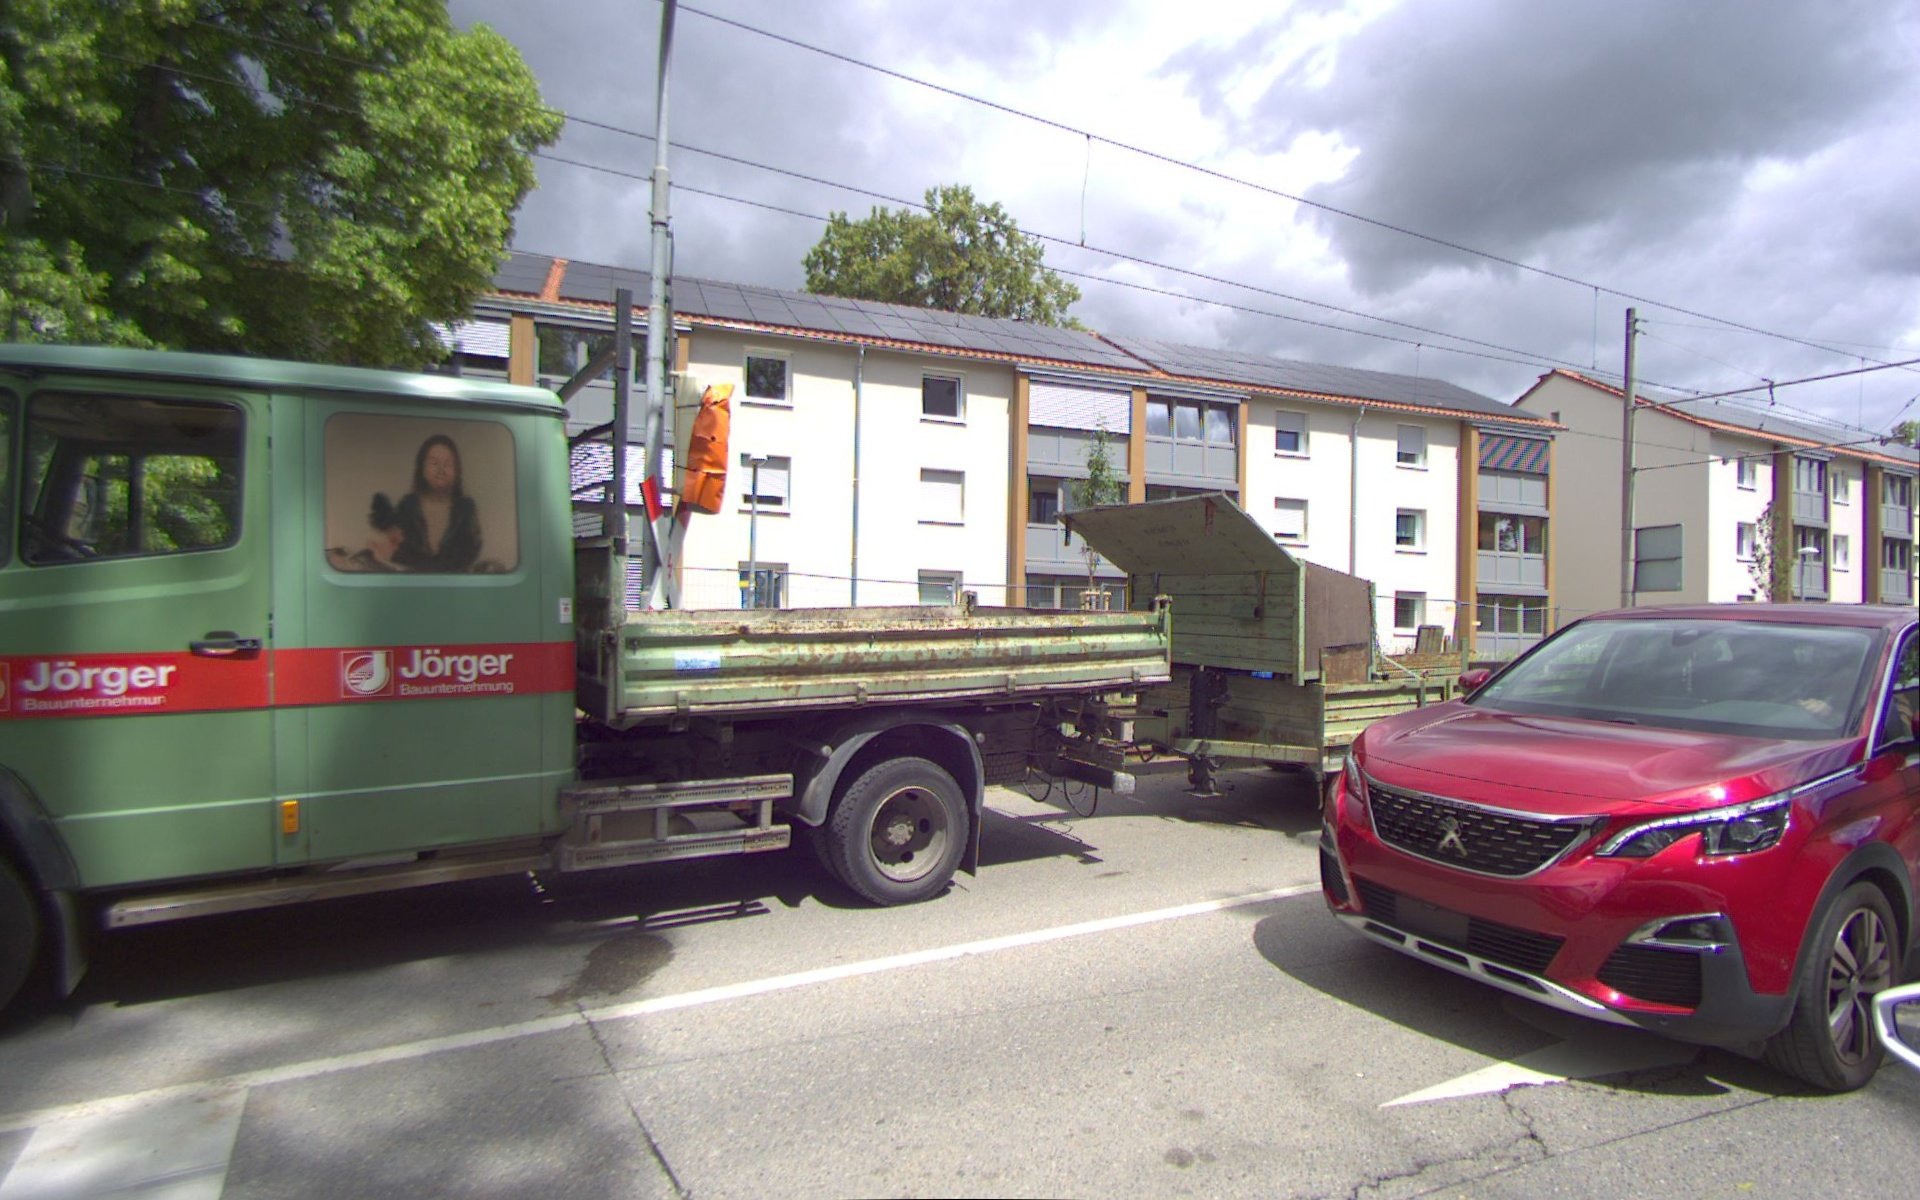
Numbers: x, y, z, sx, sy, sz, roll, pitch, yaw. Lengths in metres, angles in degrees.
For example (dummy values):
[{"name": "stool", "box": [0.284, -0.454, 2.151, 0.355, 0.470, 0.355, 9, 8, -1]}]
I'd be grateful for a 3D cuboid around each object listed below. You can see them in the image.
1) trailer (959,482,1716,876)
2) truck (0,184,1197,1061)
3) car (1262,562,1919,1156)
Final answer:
[{"name": "trailer", "box": [3.326, 0.513, 8.444, 6.174, 2.243, 2.649, 2, 0, -30]}, {"name": "truck", "box": [-2.053, 0.111, 5.271, 6.320, 2.761, 2.649, 2, 0, -30]}, {"name": "car", "box": [3.586, 0.784, 4.635, 4.192, 1.639, 1.834, 2, -1, -30]}]
